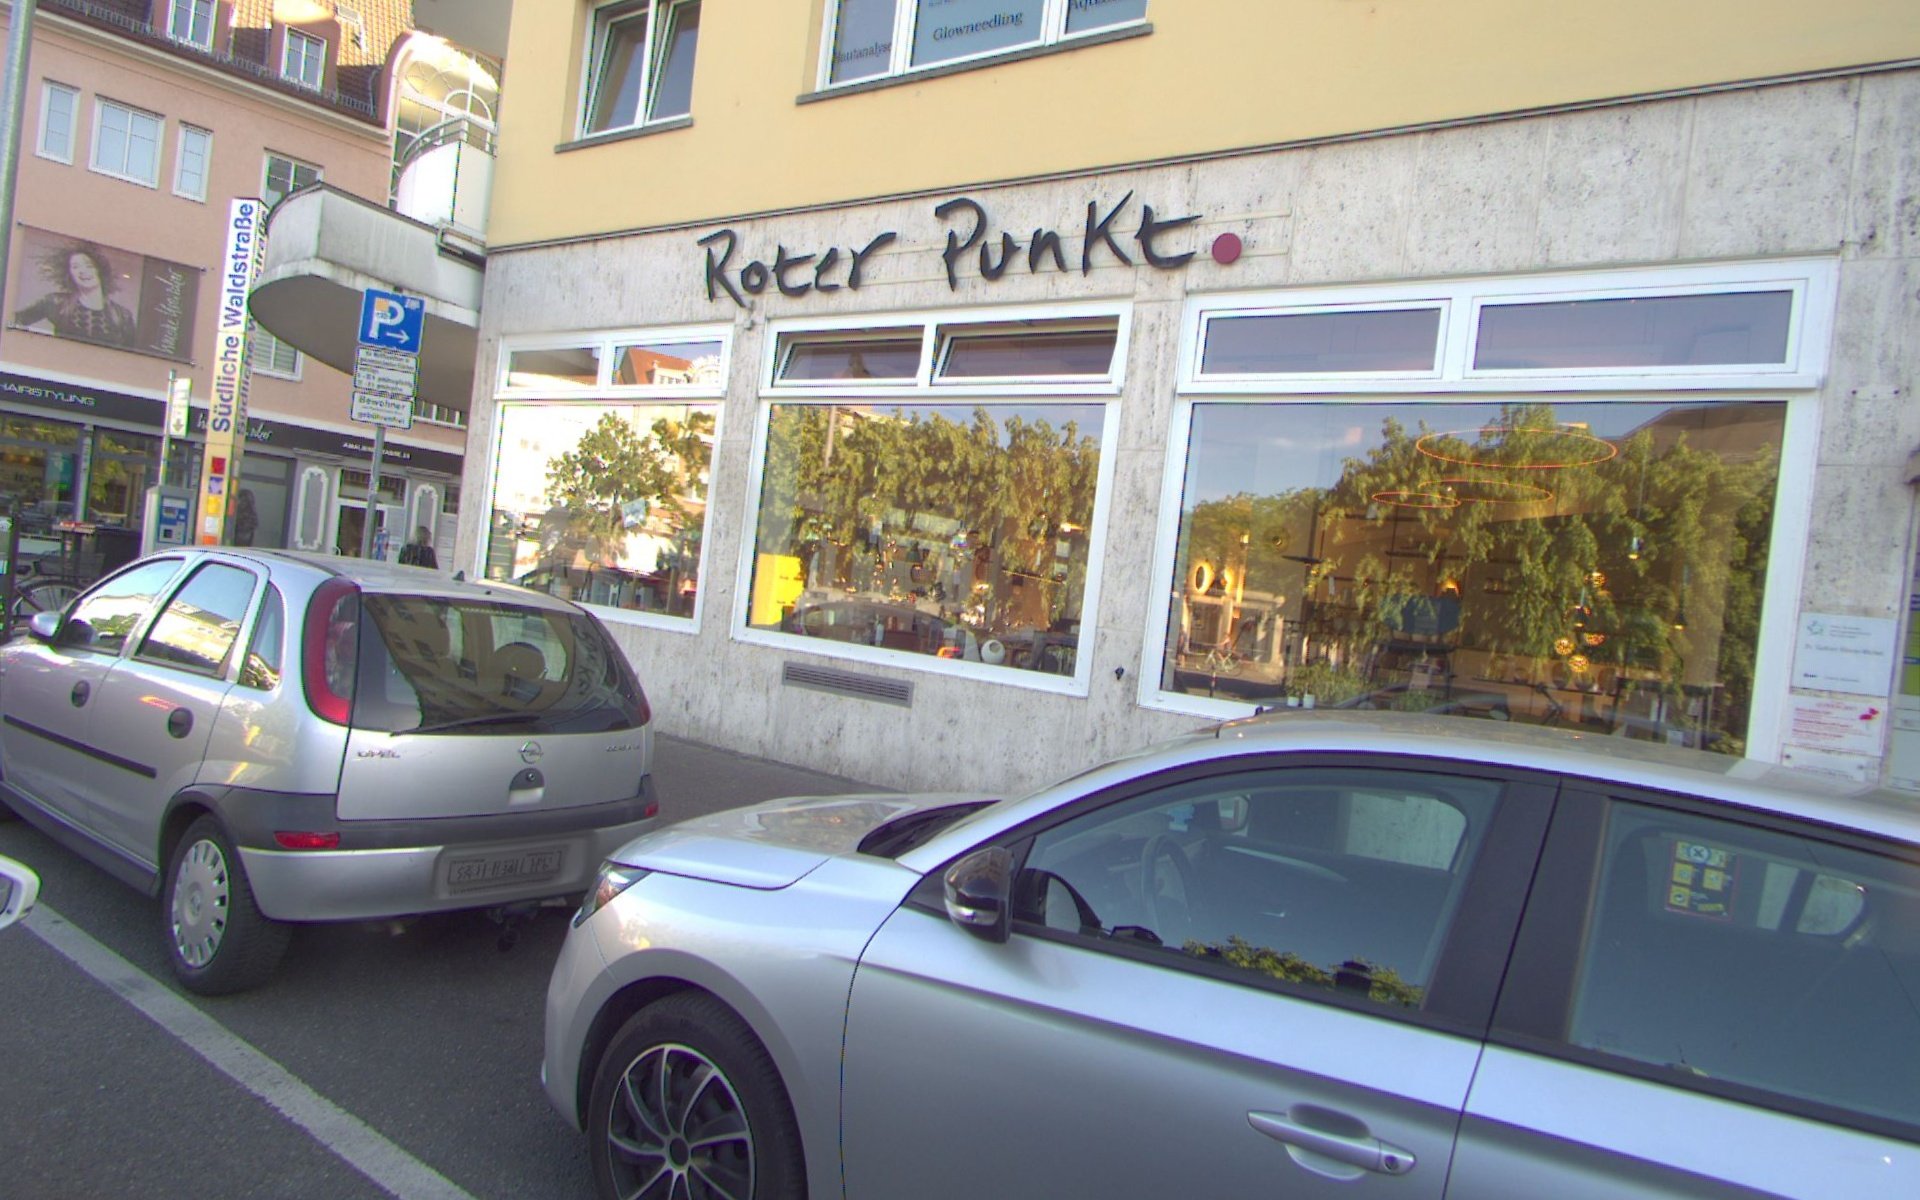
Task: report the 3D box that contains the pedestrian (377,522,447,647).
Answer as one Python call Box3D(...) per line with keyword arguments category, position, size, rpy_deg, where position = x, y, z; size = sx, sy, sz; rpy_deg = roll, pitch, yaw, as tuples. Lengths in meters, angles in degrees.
Box3D(category="pedestrian", position=(-7.643, -0.222, 14.050), size=(0.654, 1.654, 0.625), rpy_deg=(5, 2, -18))

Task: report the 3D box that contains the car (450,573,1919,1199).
Box3D(category="car", position=(0.940, 0.918, 2.191), size=(4.009, 1.444, 1.673), rpy_deg=(7, -1, 31))

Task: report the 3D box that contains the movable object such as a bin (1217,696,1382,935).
Box3D(category="movable object such as a bin", position=(1.861, 1.122, 5.481), size=(0.609, 1.082, 0.703), rpy_deg=(7, 3, 31))

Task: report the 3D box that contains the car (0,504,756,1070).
Box3D(category="car", position=(-2.938, 0.459, 4.440), size=(3.822, 1.411, 1.624), rpy_deg=(7, -1, 33))

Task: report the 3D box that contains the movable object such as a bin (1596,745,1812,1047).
Box3D(category="movable object such as a bin", position=(3.327, 1.281, 4.568), size=(0.609, 1.082, 0.703), rpy_deg=(7, 3, 31))
